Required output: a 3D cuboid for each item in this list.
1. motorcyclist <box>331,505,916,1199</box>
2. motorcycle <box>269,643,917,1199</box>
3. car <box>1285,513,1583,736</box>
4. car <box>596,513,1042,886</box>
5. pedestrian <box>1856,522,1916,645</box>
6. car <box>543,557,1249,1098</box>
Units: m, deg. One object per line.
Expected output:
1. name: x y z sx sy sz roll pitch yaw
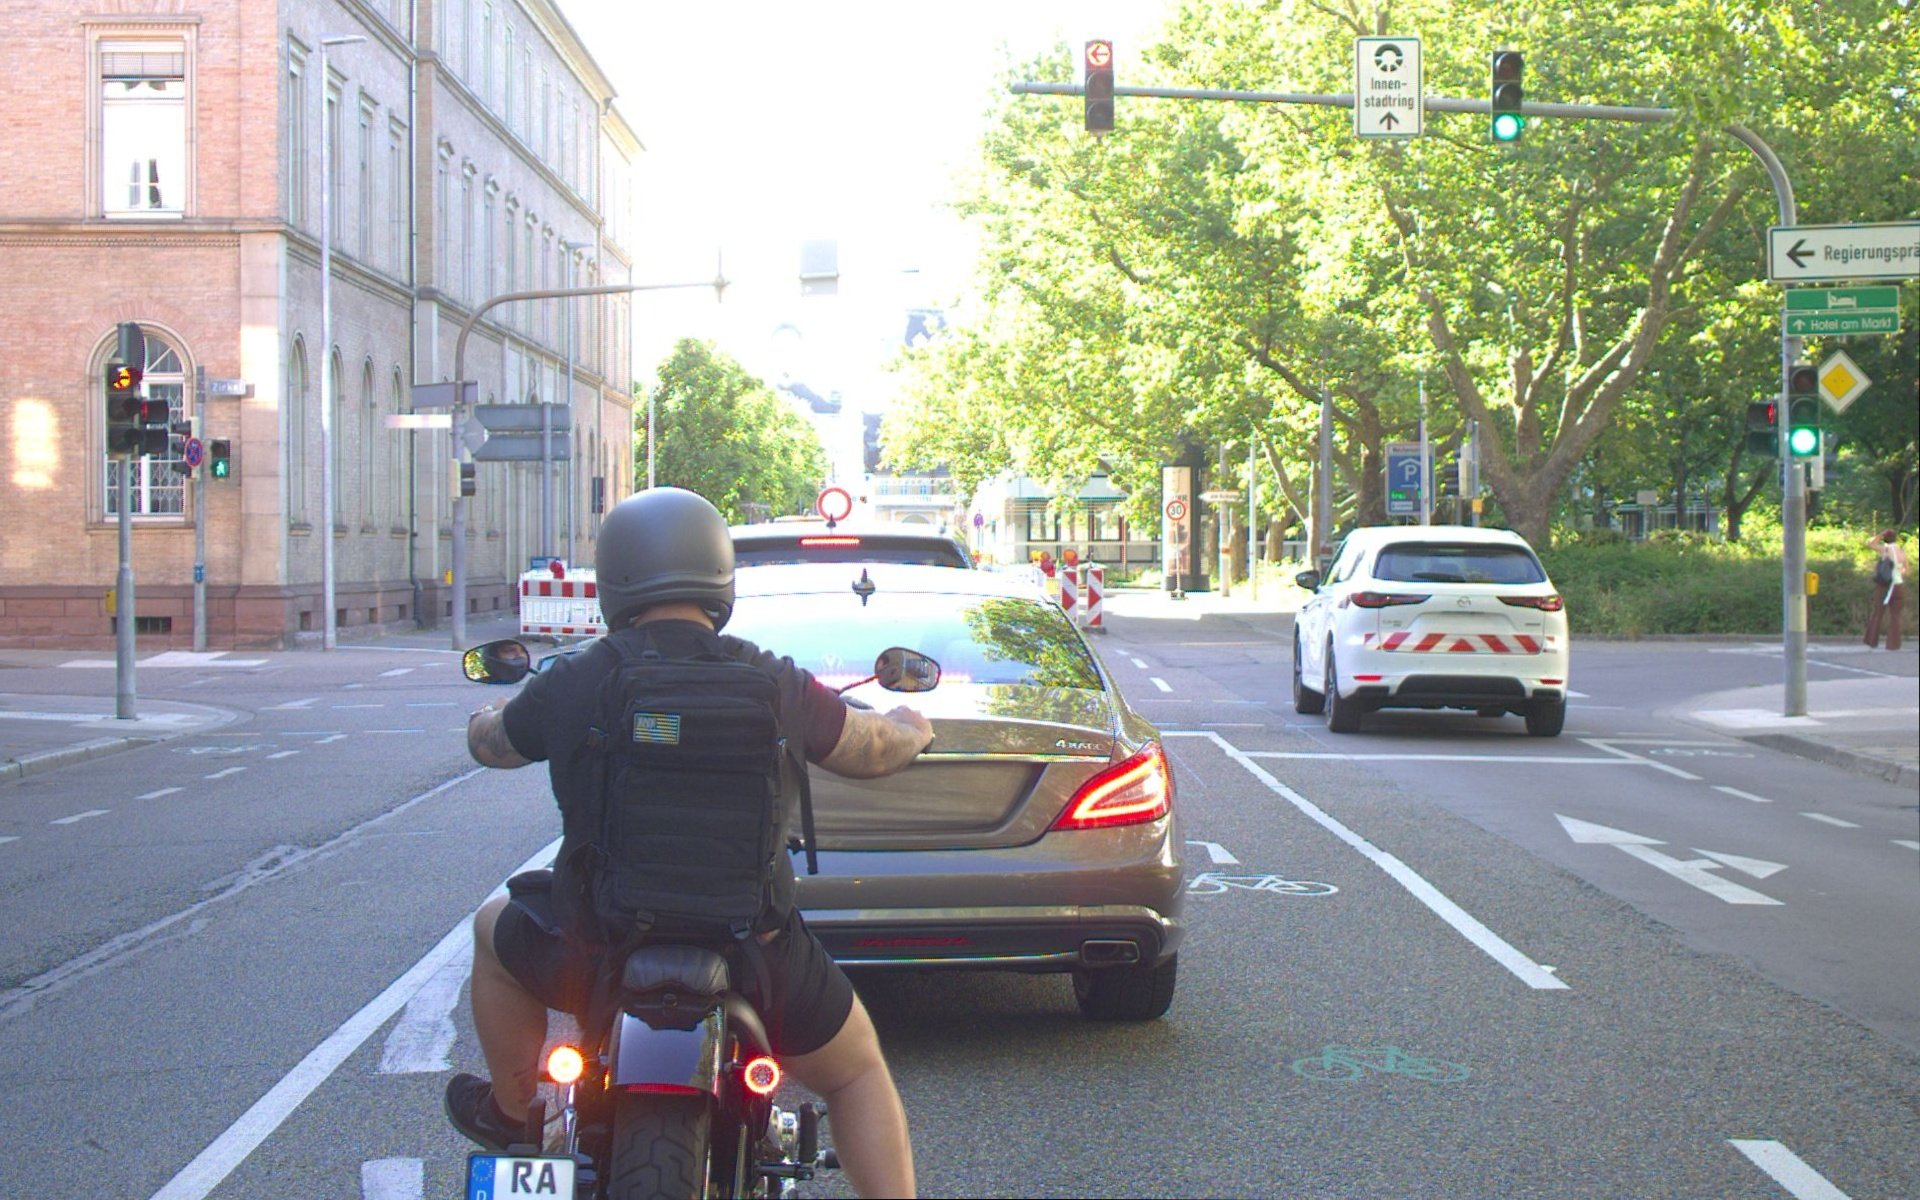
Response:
1. motorcyclist: -0.573 0.615 6.416 0.980 1.573 1.248 0 1 -1
2. motorcycle: -0.571 0.754 6.432 0.980 1.271 2.407 0 1 -1
3. car: 3.921 0.148 29.142 1.943 1.702 4.483 1 1 1
4. car: -0.662 0.430 17.552 1.993 1.660 4.000 1 1 -1
5. pedestrian: 13.400 -0.240 49.758 0.678 1.766 0.616 1 0 29
6. car: -0.428 0.588 11.630 1.869 1.439 4.431 0 1 -8
